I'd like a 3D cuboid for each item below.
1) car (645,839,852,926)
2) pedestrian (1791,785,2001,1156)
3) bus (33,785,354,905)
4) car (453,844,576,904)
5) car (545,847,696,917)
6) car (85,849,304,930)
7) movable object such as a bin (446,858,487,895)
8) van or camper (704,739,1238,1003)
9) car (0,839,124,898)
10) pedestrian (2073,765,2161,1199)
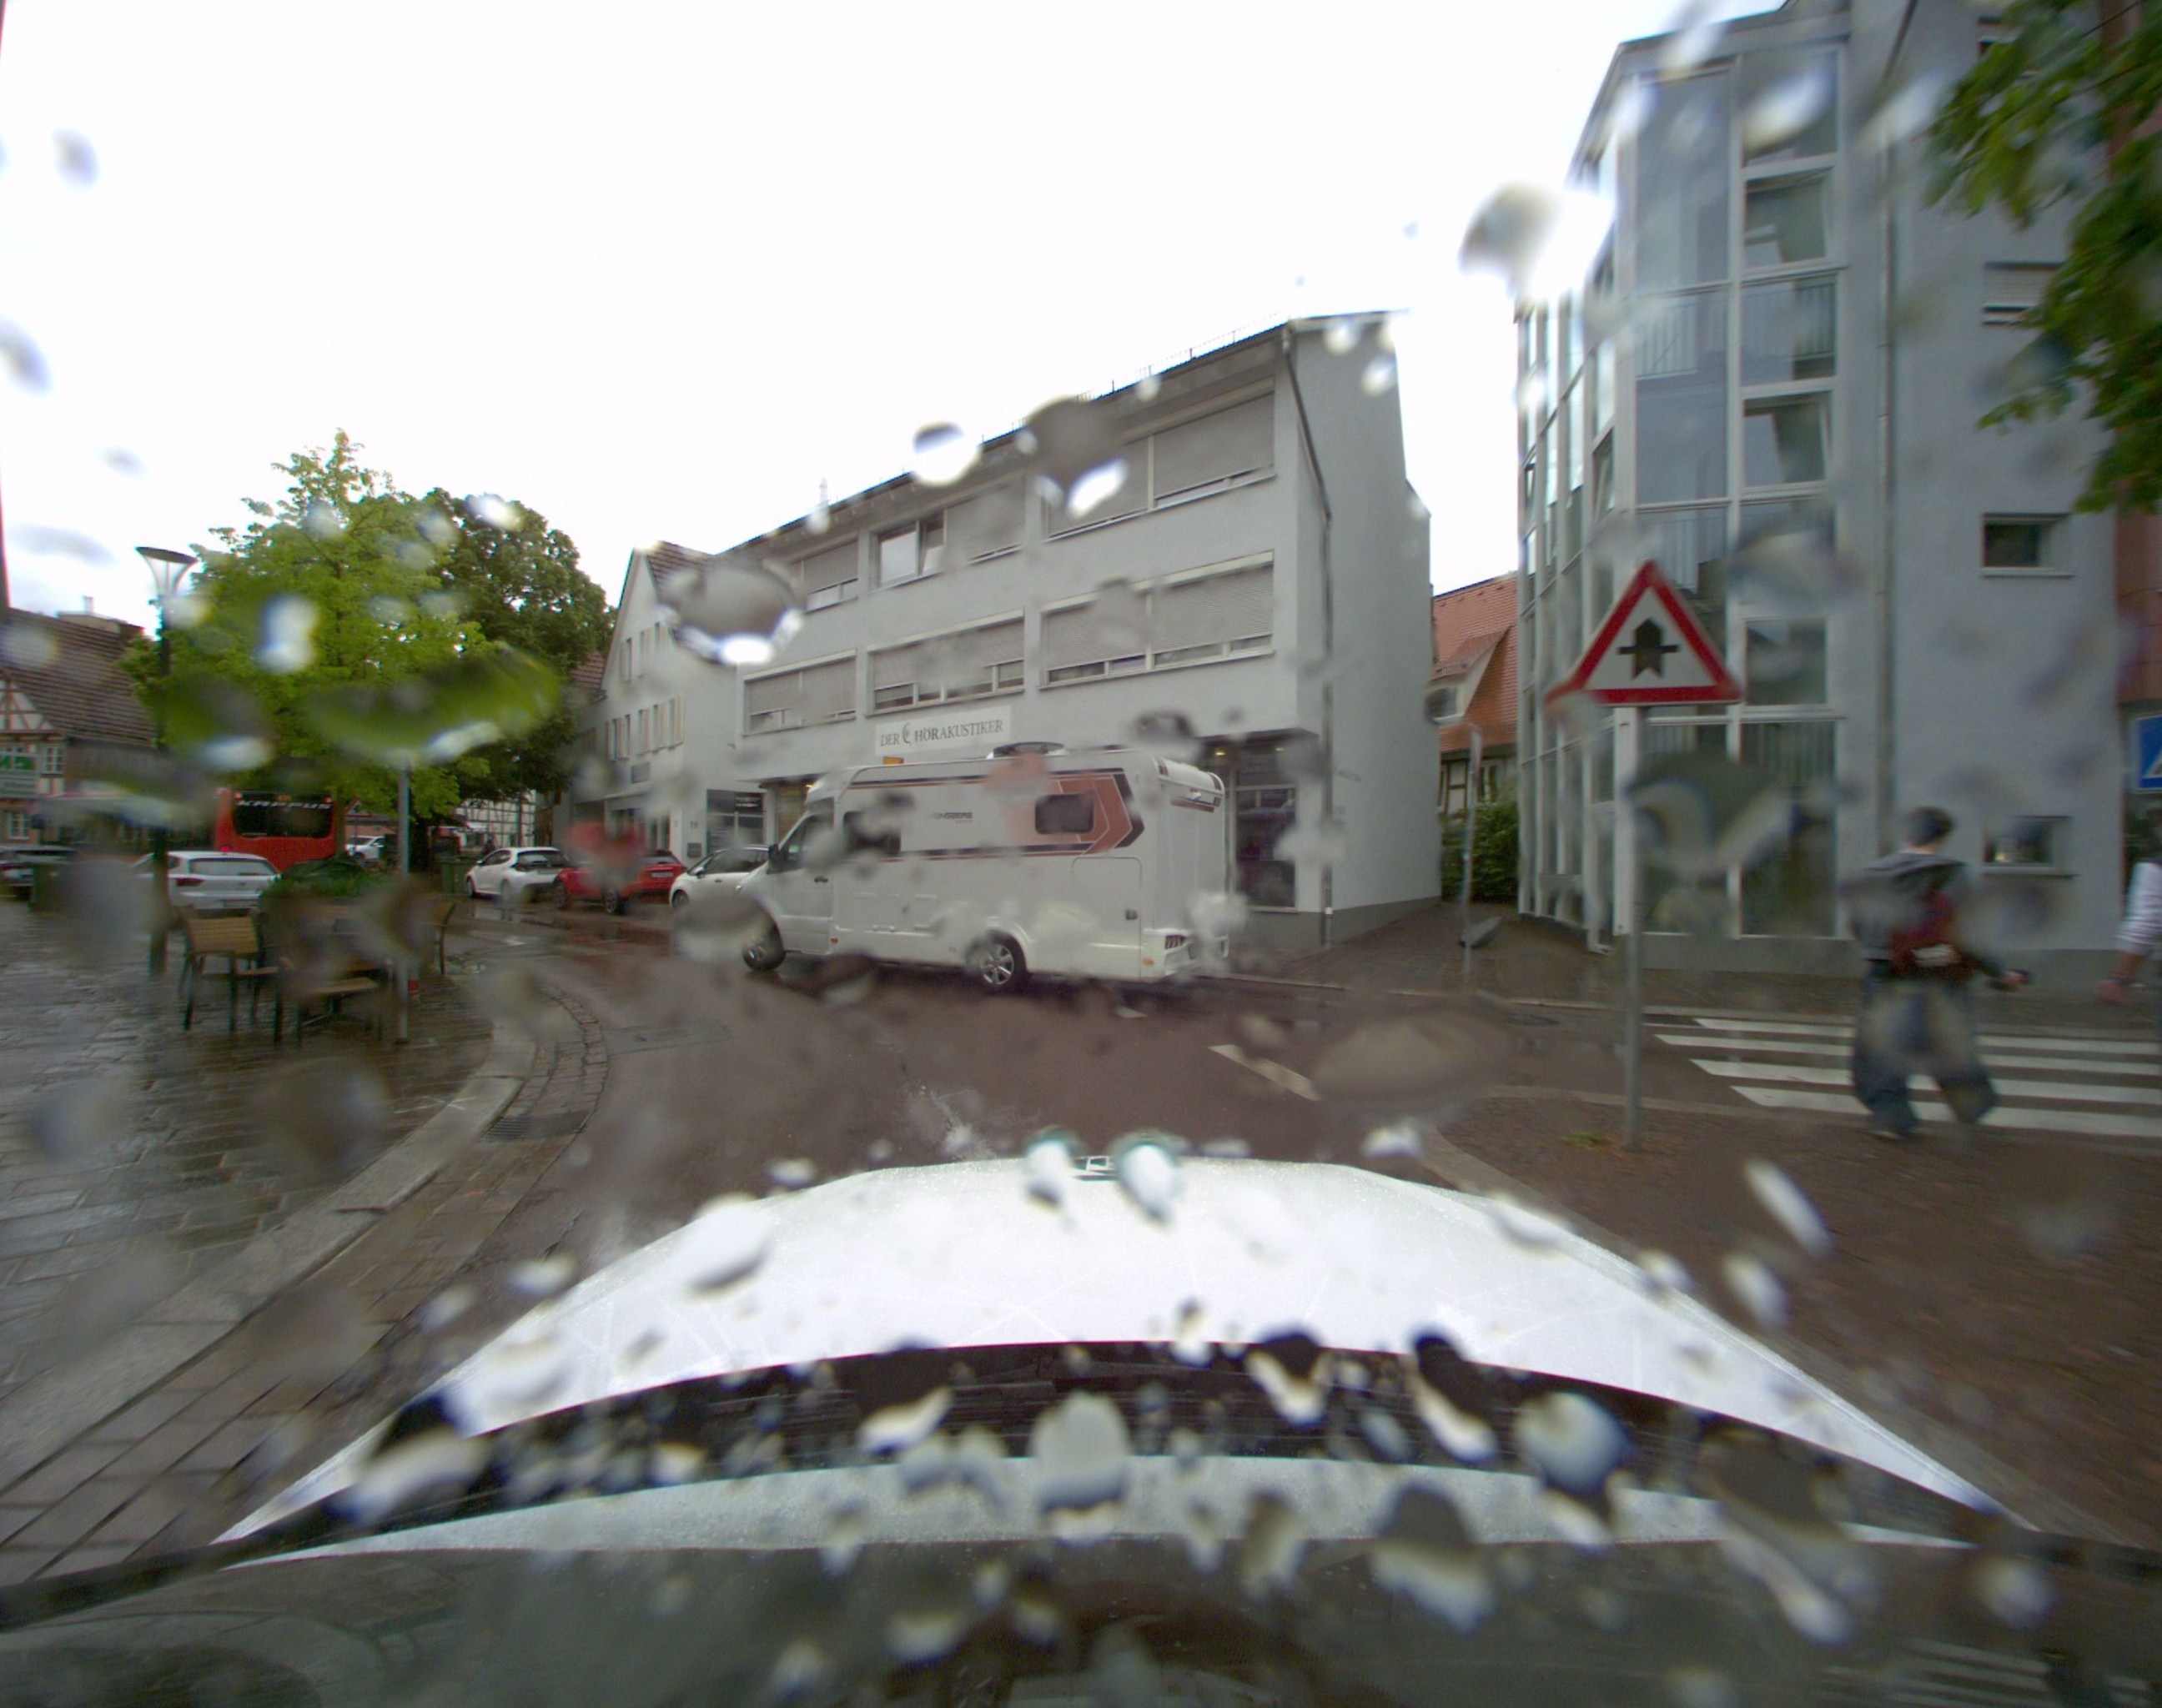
[{"bbox_3d":[-7.090,0.555,17.224,4.411,1.631,1.793,-1,0,32],"label":"car"},{"bbox_3d":[4.566,0.570,4.556,1.063,1.800,0.686,1,-1,-38],"label":"pedestrian"},{"bbox_3d":[-26.483,-0.281,24.202,10.481,3.088,2.837,0,1,22],"label":"bus"},{"bbox_3d":[-16.091,0.496,23.081,3.750,1.528,1.693,1,1,36],"label":"car"},{"bbox_3d":[-11.282,0.613,19.891,3.750,1.528,1.693,0,1,34],"label":"car"},{"bbox_3d":[-17.762,0.668,16.317,3.932,1.415,1.736,1,-2,24],"label":"car"},{"bbox_3d":[-18.588,0.678,24.637,0.554,1.112,0.841,-1,-1,30],"label":"movable object such as a bin"},{"bbox_3d":[-1.586,0.174,10.620,6.666,2.586,2.460,0,-1,28],"label":"van or camper"},{"bbox_3d":[-27.364,0.338,21.170,3.937,1.414,1.734,1,-1,16],"label":"car"},{"bbox_3d":[4.996,0.535,3.635,1.066,1.807,0.657,1,-2,-41],"label":"pedestrian"}]
